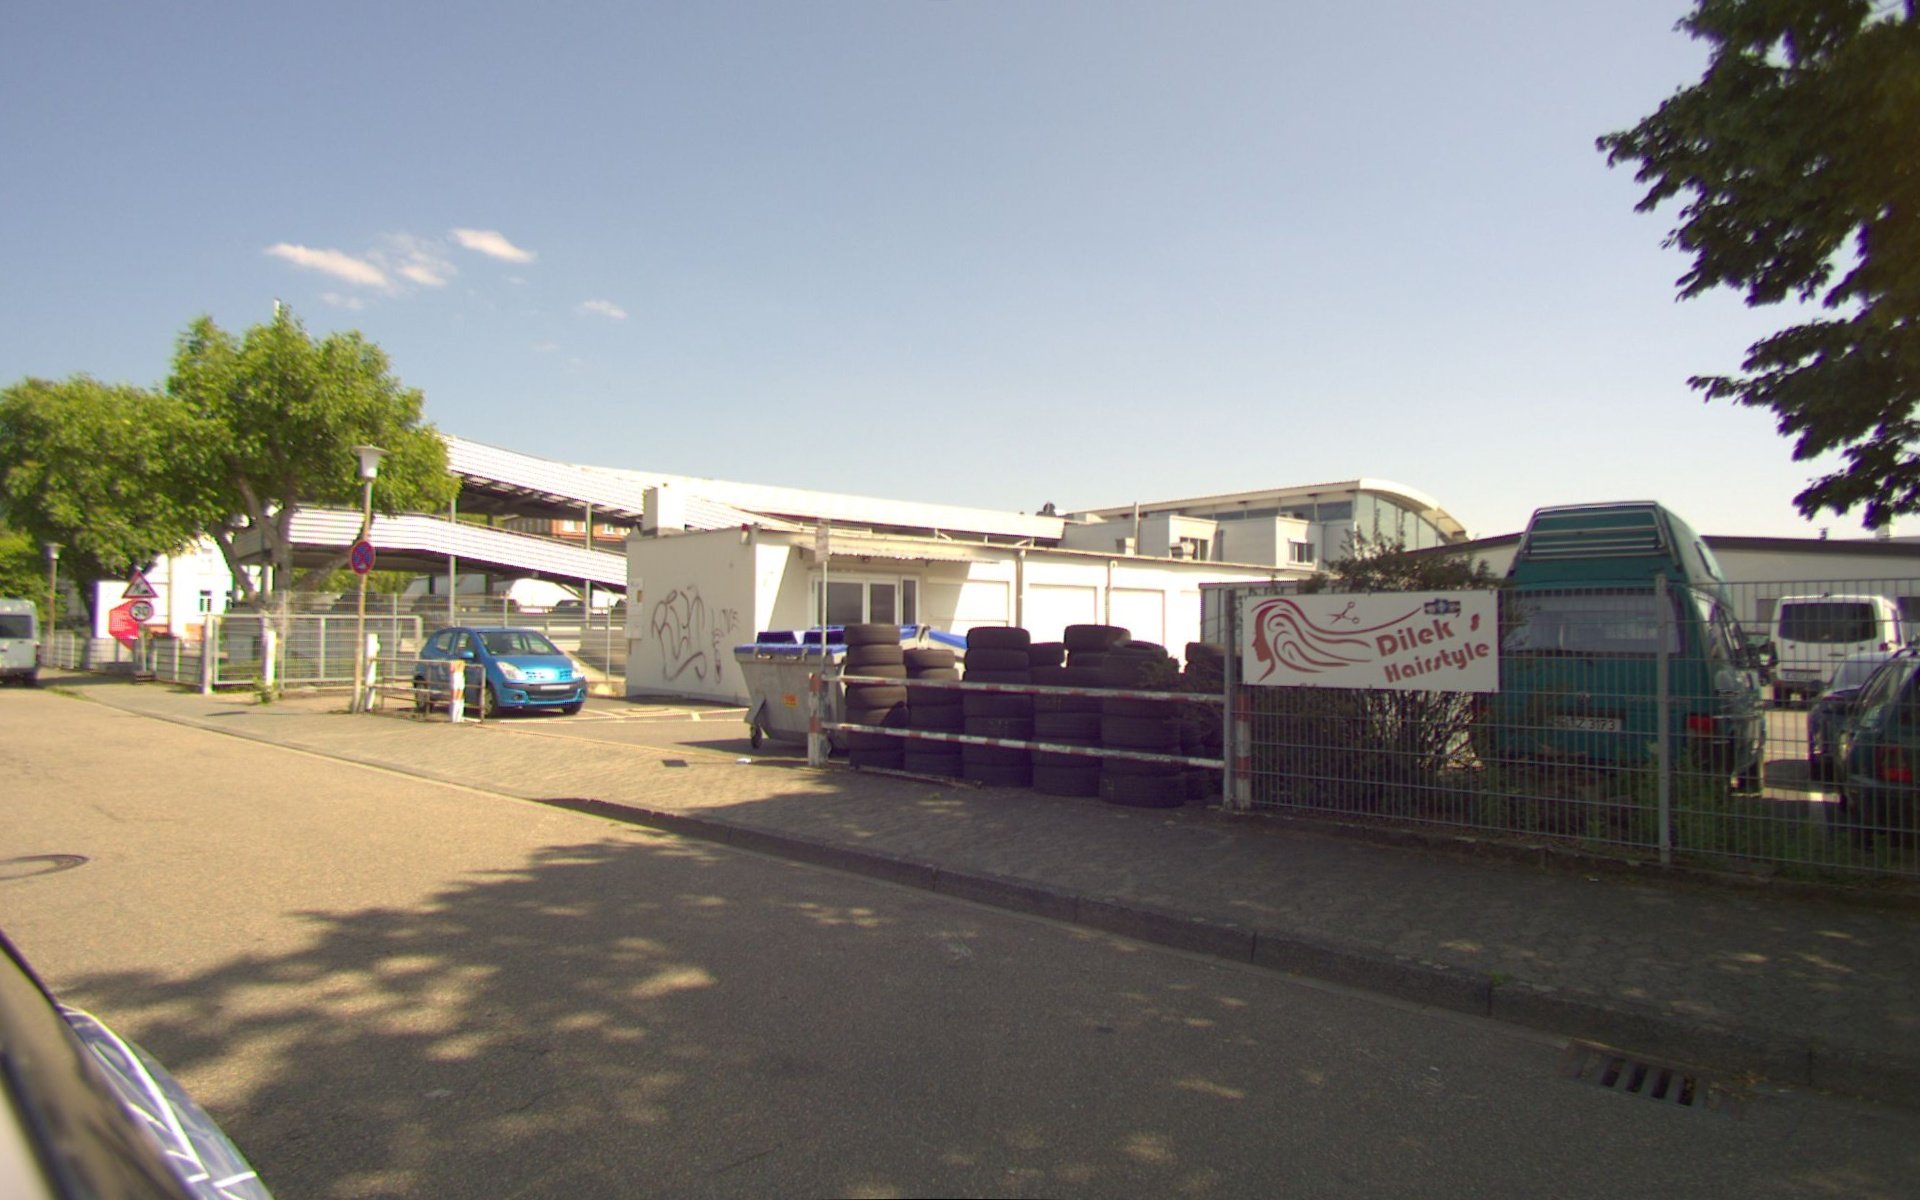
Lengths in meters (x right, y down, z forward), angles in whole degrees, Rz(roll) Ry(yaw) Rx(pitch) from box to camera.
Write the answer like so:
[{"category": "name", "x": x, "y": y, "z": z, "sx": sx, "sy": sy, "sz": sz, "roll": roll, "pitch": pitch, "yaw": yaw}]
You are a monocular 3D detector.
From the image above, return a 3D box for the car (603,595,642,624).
[{"category": "car", "x": -17.680, "y": 0.503, "z": 52.951, "sx": 1.680, "sy": 1.469, "sz": 3.537, "roll": -1, "pitch": 0, "yaw": -23}]

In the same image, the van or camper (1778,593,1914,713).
[{"category": "van or camper", "x": 19.174, "y": 1.111, "z": 21.839, "sx": 4.533, "sy": 2.323, "sz": 1.783, "roll": 2, "pitch": -2, "yaw": -44}]

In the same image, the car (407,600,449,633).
[{"category": "car", "x": -24.753, "y": 0.752, "z": 47.082, "sx": 1.680, "sy": 1.469, "sz": 3.536, "roll": 0, "pitch": 0, "yaw": -28}]

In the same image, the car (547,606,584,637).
[{"category": "car", "x": -20.117, "y": 1.068, "z": 51.659, "sx": 1.680, "sy": 1.469, "sz": 3.537, "roll": -1, "pitch": 0, "yaw": -21}]

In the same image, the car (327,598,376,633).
[{"category": "car", "x": -26.970, "y": 0.683, "z": 44.942, "sx": 1.680, "sy": 1.469, "sz": 3.536, "roll": 0, "pitch": 0, "yaw": -28}]

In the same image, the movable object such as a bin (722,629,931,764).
[{"category": "movable object such as a bin", "x": -1.560, "y": 1.046, "z": 11.625, "sx": 1.364, "sy": 1.368, "sz": 2.105, "roll": 4, "pitch": -3, "yaw": -44}]

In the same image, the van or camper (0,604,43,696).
[{"category": "van or camper", "x": -27.127, "y": 1.328, "z": 27.907, "sx": 4.681, "sy": 2.395, "sz": 2.003, "roll": -1, "pitch": -4, "yaw": 40}]

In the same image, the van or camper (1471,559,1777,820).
[{"category": "van or camper", "x": 6.328, "y": 0.648, "z": 9.436, "sx": 1.774, "sy": 1.877, "sz": 4.138, "roll": -1, "pitch": 0, "yaw": 42}]

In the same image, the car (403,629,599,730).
[{"category": "car", "x": -7.814, "y": 1.260, "z": 17.125, "sx": 3.521, "sy": 1.469, "sz": 1.624, "roll": -1, "pitch": 0, "yaw": 39}]

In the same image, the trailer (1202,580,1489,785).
[{"category": "trailer", "x": 5.173, "y": 0.873, "z": 13.163, "sx": 1.999, "sy": 2.171, "sz": 4.721, "roll": -1, "pitch": 0, "yaw": 40}]

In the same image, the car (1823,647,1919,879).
[{"category": "car", "x": 7.504, "y": 1.049, "z": 7.184, "sx": 1.860, "sy": 1.397, "sz": 3.872, "roll": -2, "pitch": -4, "yaw": 44}]

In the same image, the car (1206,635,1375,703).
[{"category": "car", "x": 8.006, "y": 1.613, "z": 24.768, "sx": 1.682, "sy": 1.433, "sz": 3.588, "roll": 0, "pitch": 0, "yaw": -39}]

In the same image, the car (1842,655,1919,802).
[{"category": "car", "x": 10.691, "y": 1.296, "z": 10.790, "sx": 1.730, "sy": 1.389, "sz": 3.589, "roll": -2, "pitch": -3, "yaw": 38}]

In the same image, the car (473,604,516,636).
[{"category": "car", "x": -22.573, "y": 0.954, "z": 49.011, "sx": 1.680, "sy": 1.469, "sz": 3.536, "roll": 0, "pitch": 0, "yaw": -28}]
